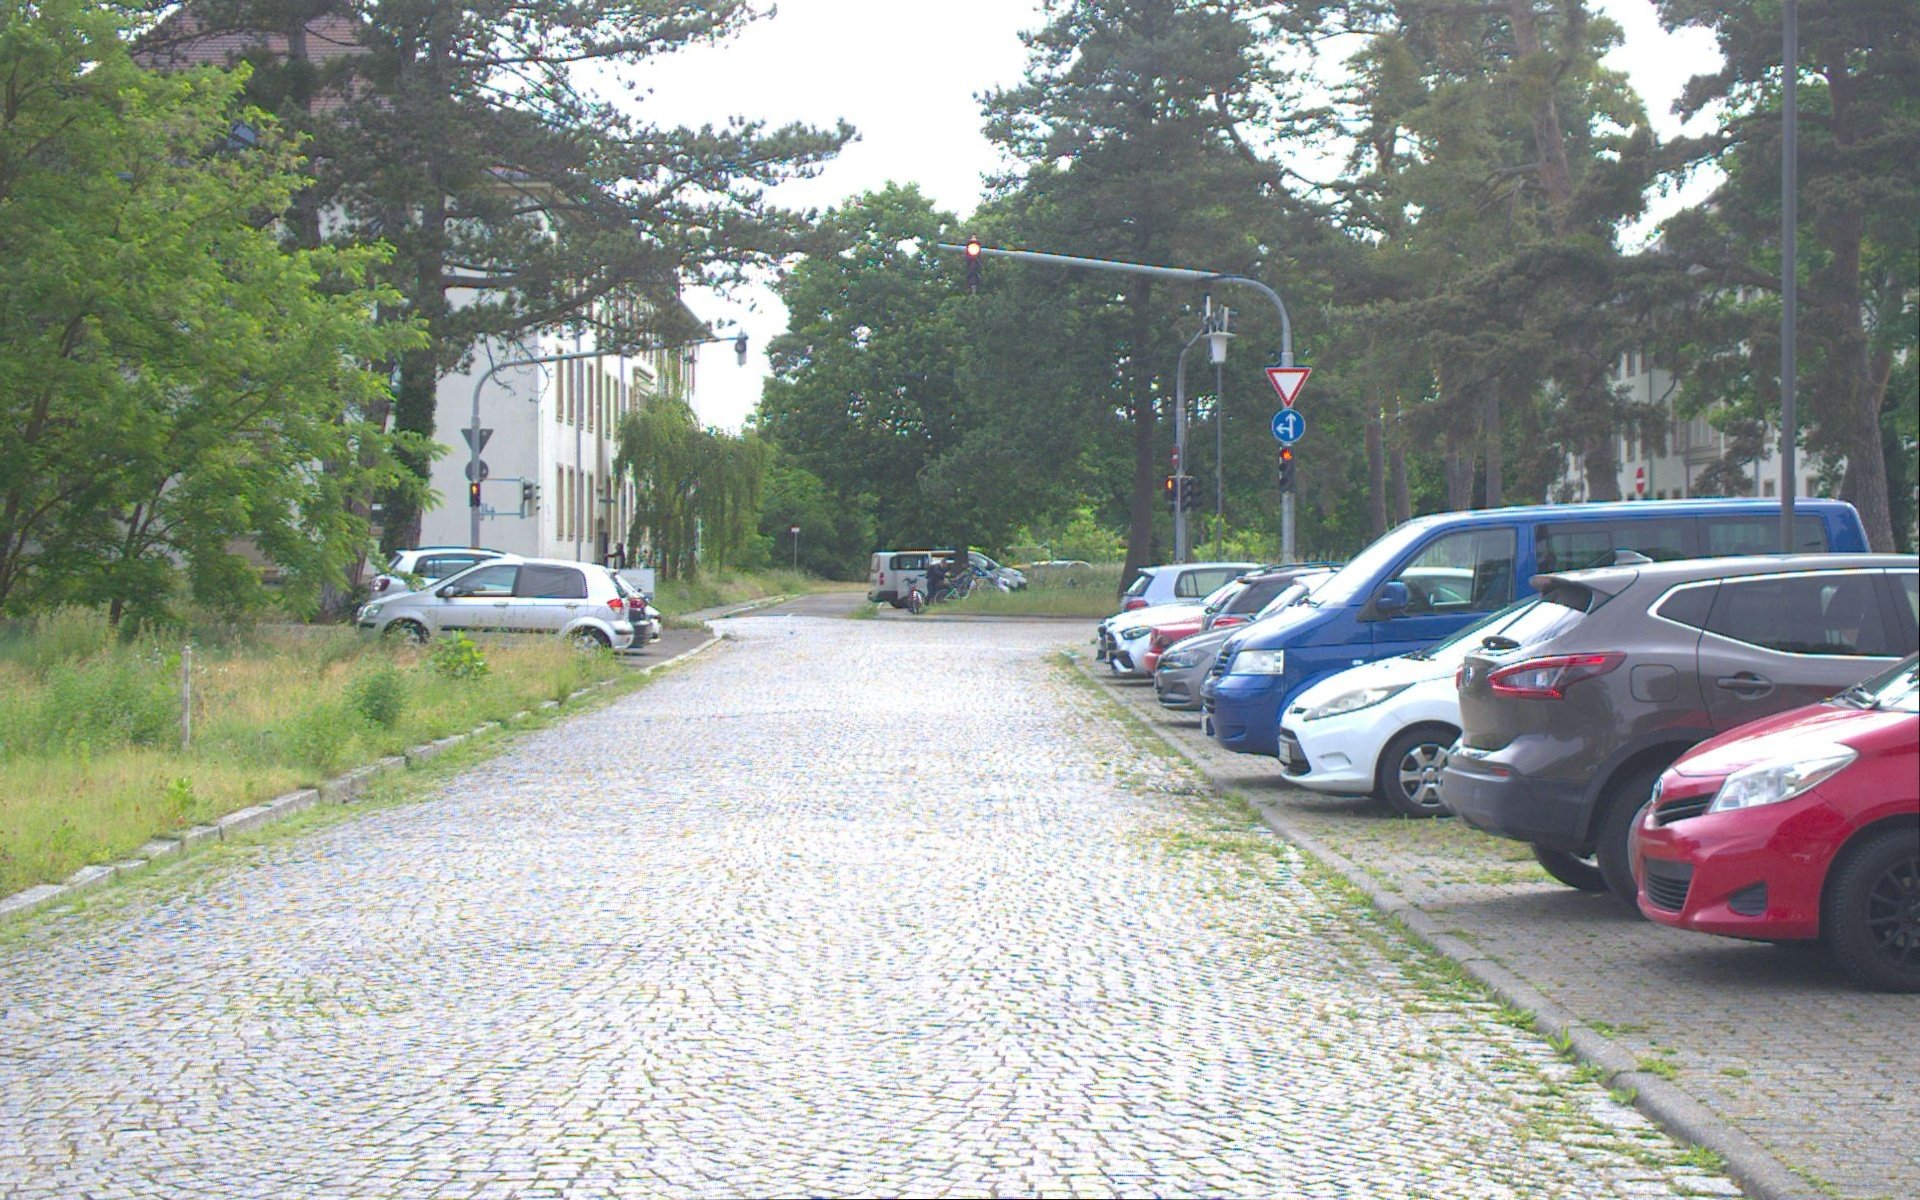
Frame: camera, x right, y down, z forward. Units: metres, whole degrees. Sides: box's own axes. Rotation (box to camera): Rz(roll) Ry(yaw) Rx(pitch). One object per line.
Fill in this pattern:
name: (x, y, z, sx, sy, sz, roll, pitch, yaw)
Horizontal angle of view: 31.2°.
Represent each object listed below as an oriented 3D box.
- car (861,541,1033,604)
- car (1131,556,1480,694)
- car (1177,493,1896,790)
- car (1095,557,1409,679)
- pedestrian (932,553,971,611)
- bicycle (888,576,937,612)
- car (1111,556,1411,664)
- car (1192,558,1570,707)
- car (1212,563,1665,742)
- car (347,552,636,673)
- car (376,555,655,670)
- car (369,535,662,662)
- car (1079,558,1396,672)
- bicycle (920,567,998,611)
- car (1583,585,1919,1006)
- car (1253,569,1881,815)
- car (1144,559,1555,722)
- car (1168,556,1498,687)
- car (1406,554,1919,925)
car: (-0.467, -0.929, 115.260, 5.444, 2.007, 2.269, 1, 1, -9)
car: (3.821, 0.266, 38.392, 3.671, 1.444, 1.524, -1, 0, -2)
car: (4.042, 0.276, 24.640, 4.754, 1.948, 1.931, -1, 0, -2)
car: (3.616, 0.214, 42.929, 3.671, 1.416, 1.524, -1, 0, -5)
pedestrian: (-0.239, -0.512, 97.696, 1.033, 1.608, 0.757, 1, 0, -5)
bicycle: (-1.298, -0.175, 93.284, 0.620, 0.942, 1.663, 1, 1, -28)
car: (4.211, 0.137, 48.437, 3.967, 1.416, 1.620, -1, 0, -5)
car: (4.331, 0.321, 35.688, 3.671, 1.444, 1.524, -1, 0, -2)
car: (4.119, 0.438, 29.920, 3.671, 1.444, 1.524, -1, 0, -2)
car: (-6.414, 0.165, 47.341, 3.821, 1.567, 1.564, -1, 0, -4)
car: (-6.400, 0.174, 49.758, 3.821, 1.567, 1.564, -1, 0, -1)
car: (-6.783, -0.024, 52.743, 4.262, 1.834, 1.744, -1, 0, -1)
car: (3.670, 0.185, 45.785, 3.967, 1.416, 1.620, -1, 0, -5)
bicycle: (-0.037, -0.300, 97.356, 2.136, 1.210, 0.622, 1, 0, -5)
car: (4.432, 0.662, 13.023, 3.792, 1.455, 1.751, -1, 0, 0)
car: (3.826, 0.558, 22.049, 3.671, 1.444, 1.615, -1, 0, -3)
car: (3.664, 0.371, 32.698, 3.671, 1.444, 1.524, -1, 0, -2)
car: (4.385, 0.245, 40.679, 3.671, 1.444, 1.524, -1, 0, -2)
car: (4.201, 0.570, 15.672, 4.028, 1.547, 1.751, -1, 0, -3)
